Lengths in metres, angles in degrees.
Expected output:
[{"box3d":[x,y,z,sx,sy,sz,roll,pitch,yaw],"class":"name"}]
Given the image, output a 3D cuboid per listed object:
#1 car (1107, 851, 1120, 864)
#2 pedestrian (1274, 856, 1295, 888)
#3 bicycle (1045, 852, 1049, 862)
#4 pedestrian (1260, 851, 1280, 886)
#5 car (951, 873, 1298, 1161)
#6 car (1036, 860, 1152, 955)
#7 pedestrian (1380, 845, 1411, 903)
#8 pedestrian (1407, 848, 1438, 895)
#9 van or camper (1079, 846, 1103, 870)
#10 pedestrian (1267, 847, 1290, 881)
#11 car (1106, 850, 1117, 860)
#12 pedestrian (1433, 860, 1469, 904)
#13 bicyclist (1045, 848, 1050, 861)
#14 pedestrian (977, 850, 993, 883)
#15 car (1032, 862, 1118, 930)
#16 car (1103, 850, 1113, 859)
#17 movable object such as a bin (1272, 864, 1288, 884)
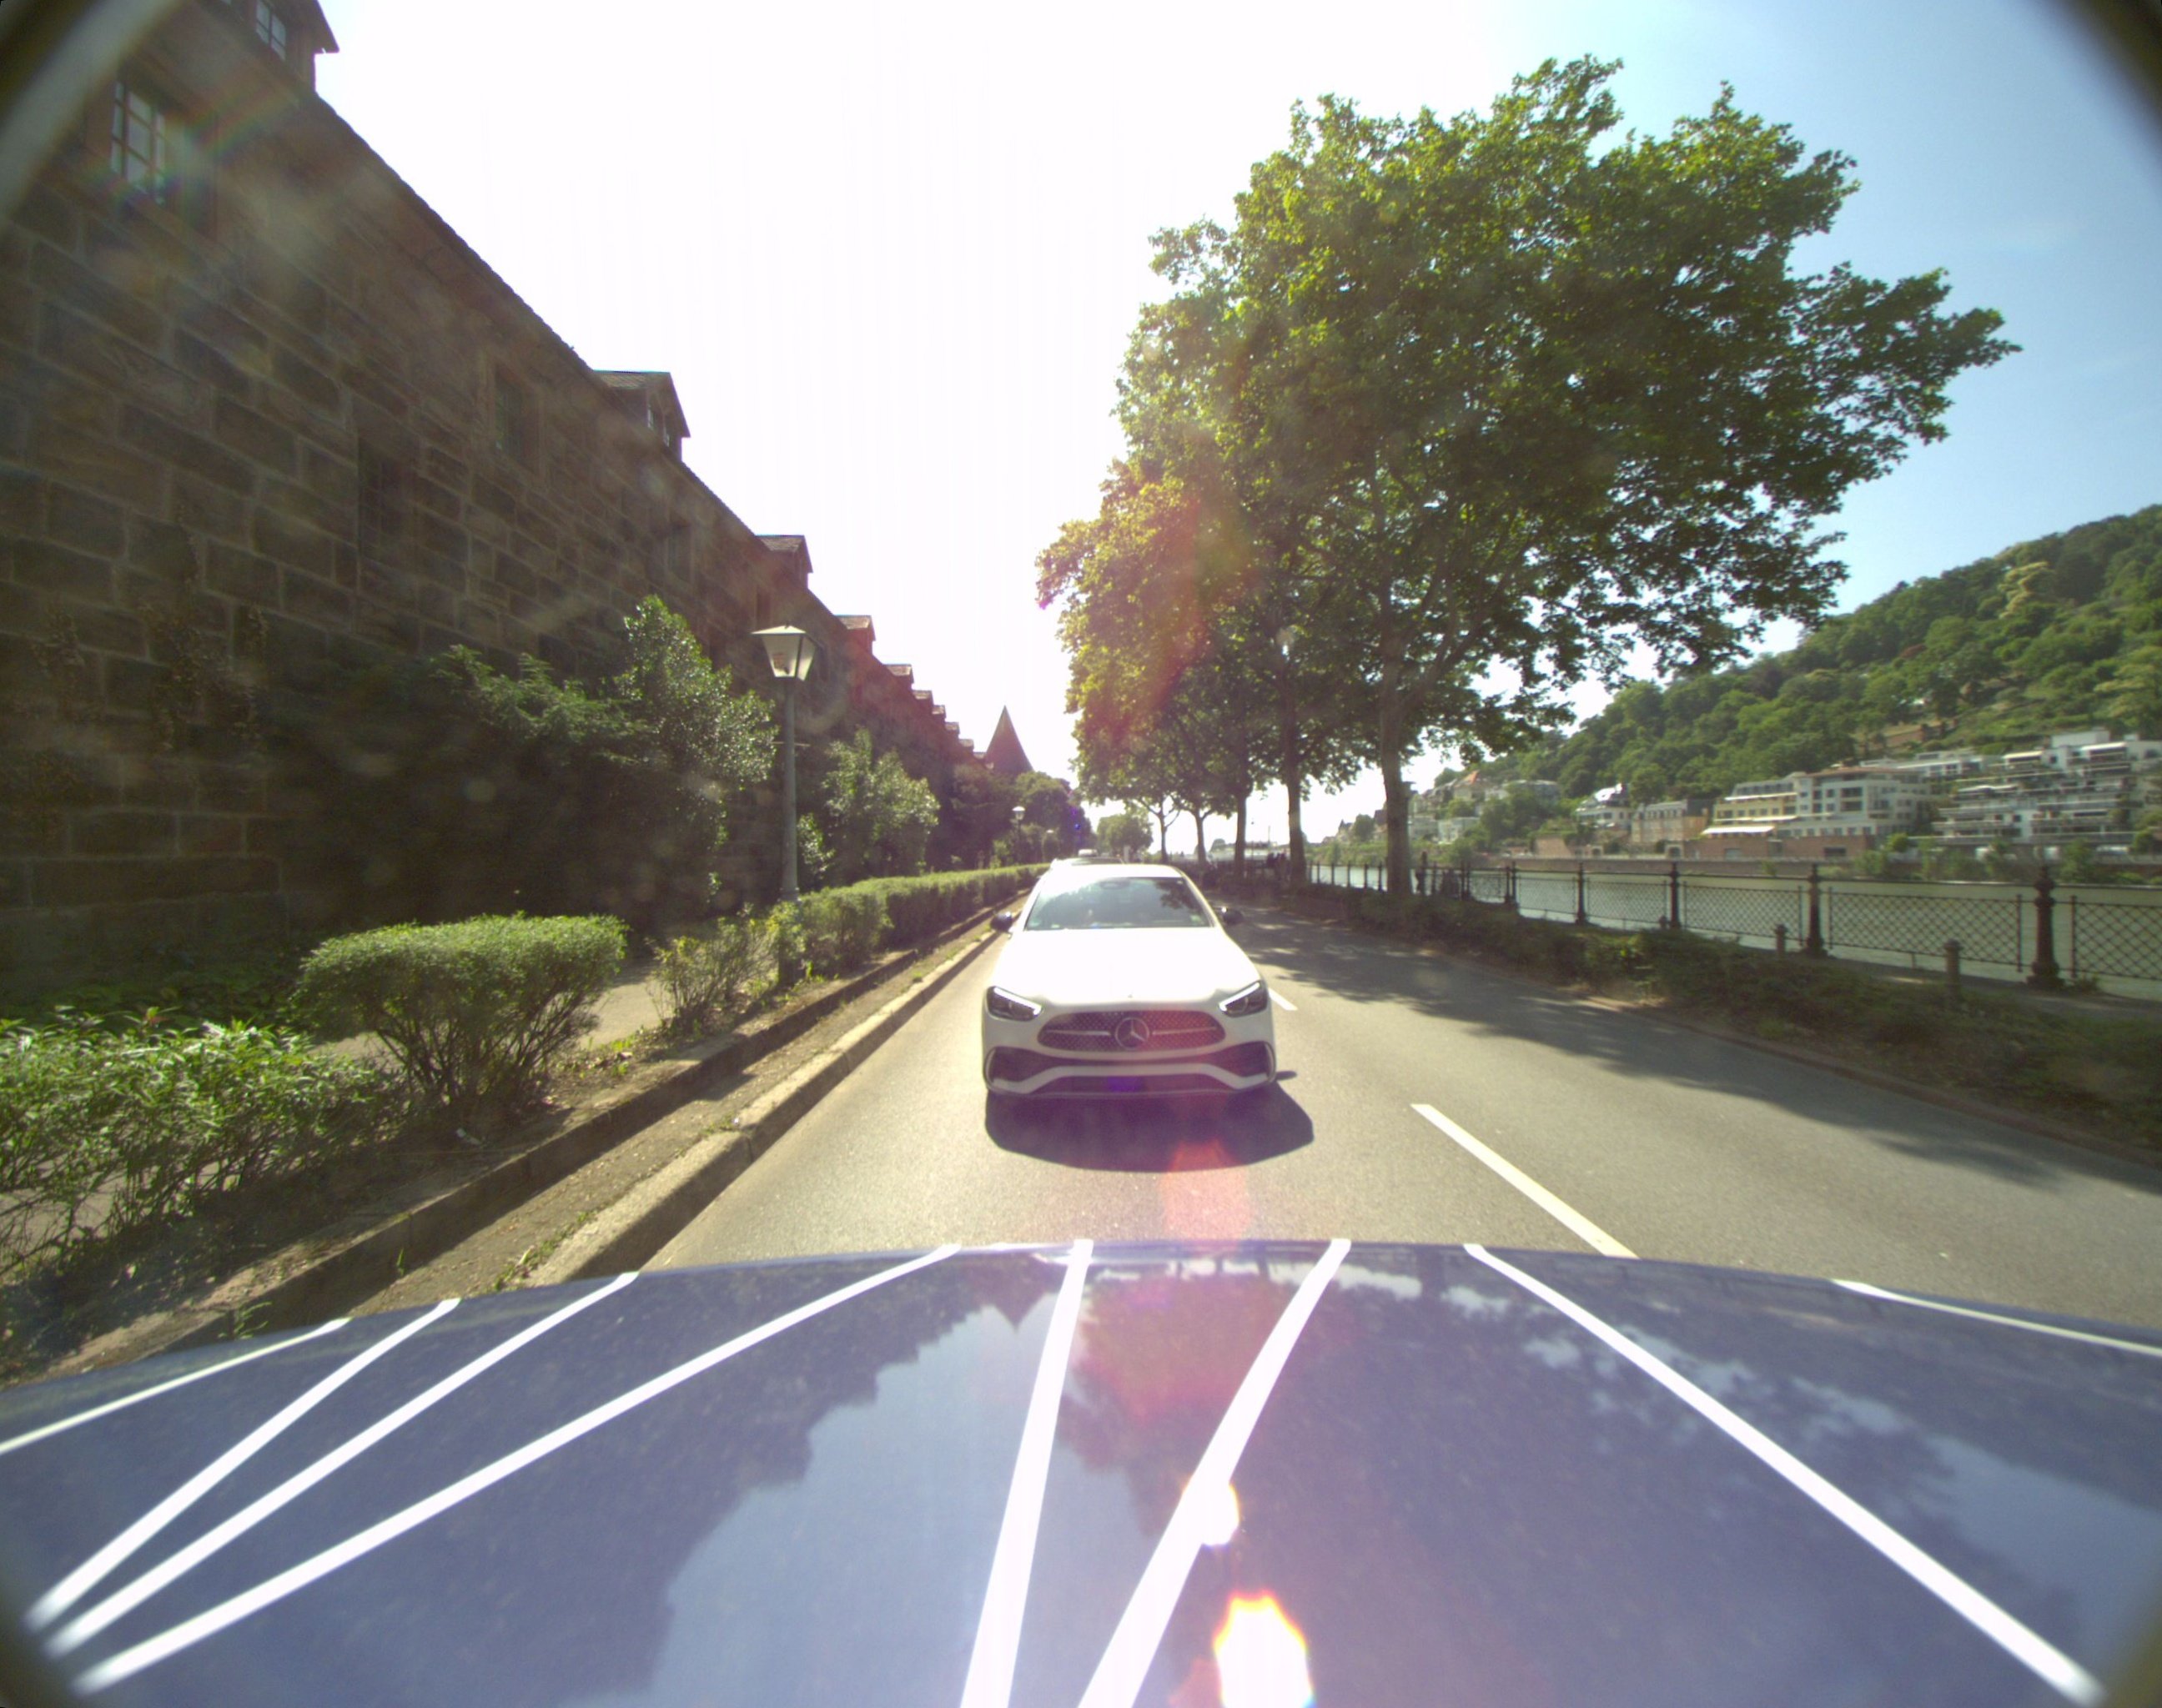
[{"box3d":[5.674,0.598,132.049,2.165,2.002,4.000,-2,1,1],"class":"car"},{"box3d":[10.970,0.952,40.982,0.897,1.625,1.059,-2,1,6],"class":"pedestrian"},{"box3d":[-4.096,0.414,92.285,0.406,1.169,1.576,-2,1,-2],"class":"bicycle"},{"box3d":[10.208,0.770,41.096,0.806,1.839,0.929,-2,1,1],"class":"pedestrian"},{"box3d":[0.263,0.944,6.260,1.833,1.395,4.270,-2,0,1],"class":"car"},{"box3d":[0.237,0.878,14.374,1.833,1.428,4.270,-2,0,1],"class":"car"},{"box3d":[10.585,0.662,25.575,0.767,1.889,0.771,1,1,8],"class":"pedestrian"},{"box3d":[12.853,0.655,28.615,0.777,1.748,0.830,1,1,0],"class":"pedestrian"},{"box3d":[1.024,0.403,77.883,2.313,2.358,5.035,1,0,0],"class":"van or camper"},{"box3d":[12.214,0.621,46.970,1.047,2.002,1.036,-1,1,31],"class":"pedestrian"},{"box3d":[5.964,0.191,149.392,2.165,2.002,4.000,-2,1,1],"class":"car"},{"box3d":[12.003,0.898,24.656,0.768,1.379,0.770,1,0,0],"class":"pedestrian"},{"box3d":[-4.093,0.019,92.345,0.550,1.513,0.583,-2,1,-1],"class":"bicyclist"},{"box3d":[-4.628,0.587,36.716,0.643,1.555,0.563,-2,1,1],"class":"pedestrian"},{"box3d":[-0.107,0.950,18.934,1.833,1.395,4.424,-2,0,1],"class":"car"},{"box3d":[6.302,0.168,177.983,2.165,2.002,4.000,-2,1,1],"class":"car"},{"box3d":[10.976,1.103,41.940,0.703,1.043,0.783,-2,1,4],"class":"movable object such as a bin"}]
